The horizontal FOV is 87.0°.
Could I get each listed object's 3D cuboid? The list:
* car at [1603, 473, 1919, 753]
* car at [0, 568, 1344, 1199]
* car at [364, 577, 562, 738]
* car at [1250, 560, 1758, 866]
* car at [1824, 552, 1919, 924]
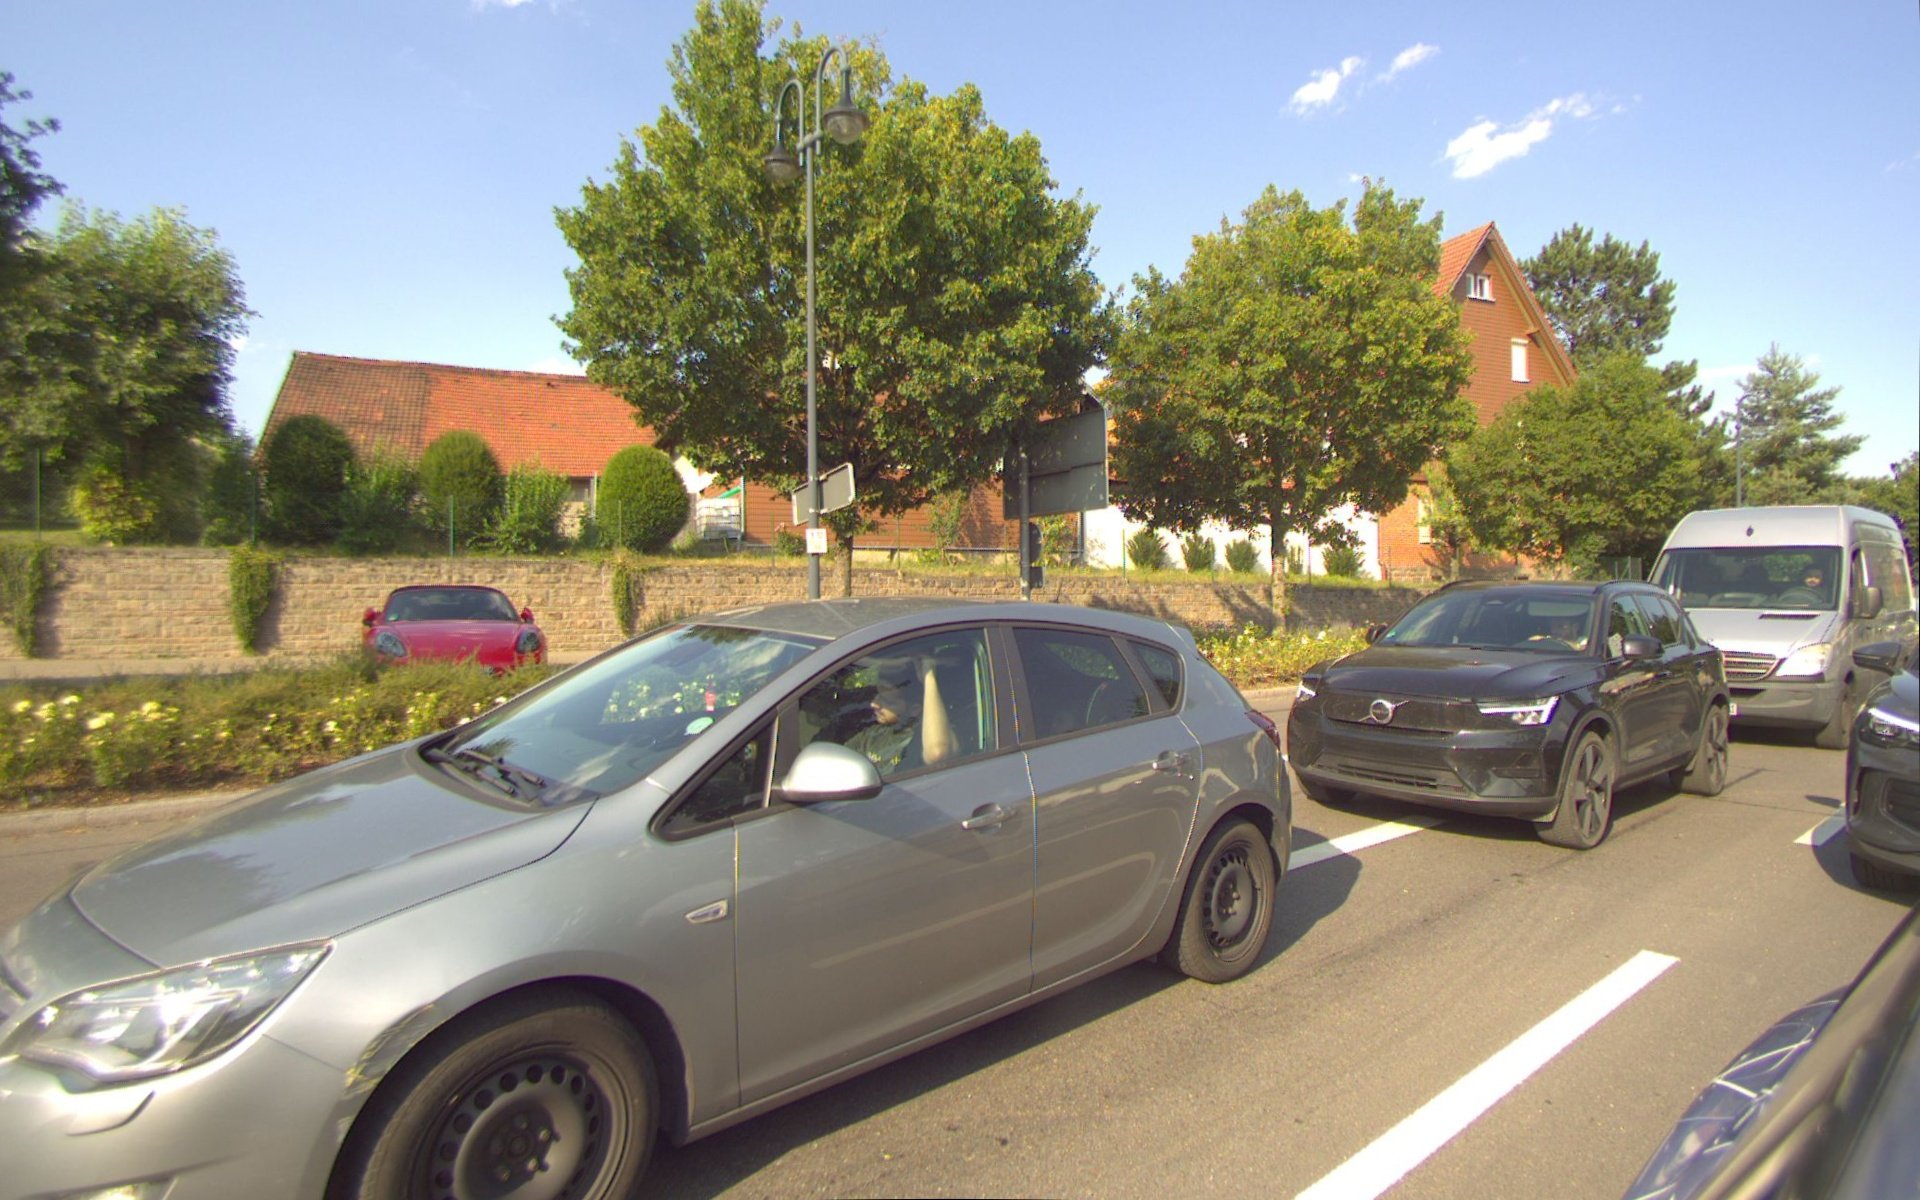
[{"bbox_3d":[9.899,0.086,12.109,5.938,2.601,1.992,0,1,-40],"label":"car"},{"bbox_3d":[-0.550,0.666,3.524,4.244,1.471,1.765,0,2,-42],"label":"car"},{"bbox_3d":[-5.887,0.527,11.716,1.743,1.510,4.156,0,0,-31],"label":"car"},{"bbox_3d":[4.170,0.567,7.454,4.242,1.629,1.844,0,2,-40],"label":"car"},{"bbox_3d":[6.223,0.618,5.339,4.242,1.629,1.844,0,2,-40],"label":"car"}]
